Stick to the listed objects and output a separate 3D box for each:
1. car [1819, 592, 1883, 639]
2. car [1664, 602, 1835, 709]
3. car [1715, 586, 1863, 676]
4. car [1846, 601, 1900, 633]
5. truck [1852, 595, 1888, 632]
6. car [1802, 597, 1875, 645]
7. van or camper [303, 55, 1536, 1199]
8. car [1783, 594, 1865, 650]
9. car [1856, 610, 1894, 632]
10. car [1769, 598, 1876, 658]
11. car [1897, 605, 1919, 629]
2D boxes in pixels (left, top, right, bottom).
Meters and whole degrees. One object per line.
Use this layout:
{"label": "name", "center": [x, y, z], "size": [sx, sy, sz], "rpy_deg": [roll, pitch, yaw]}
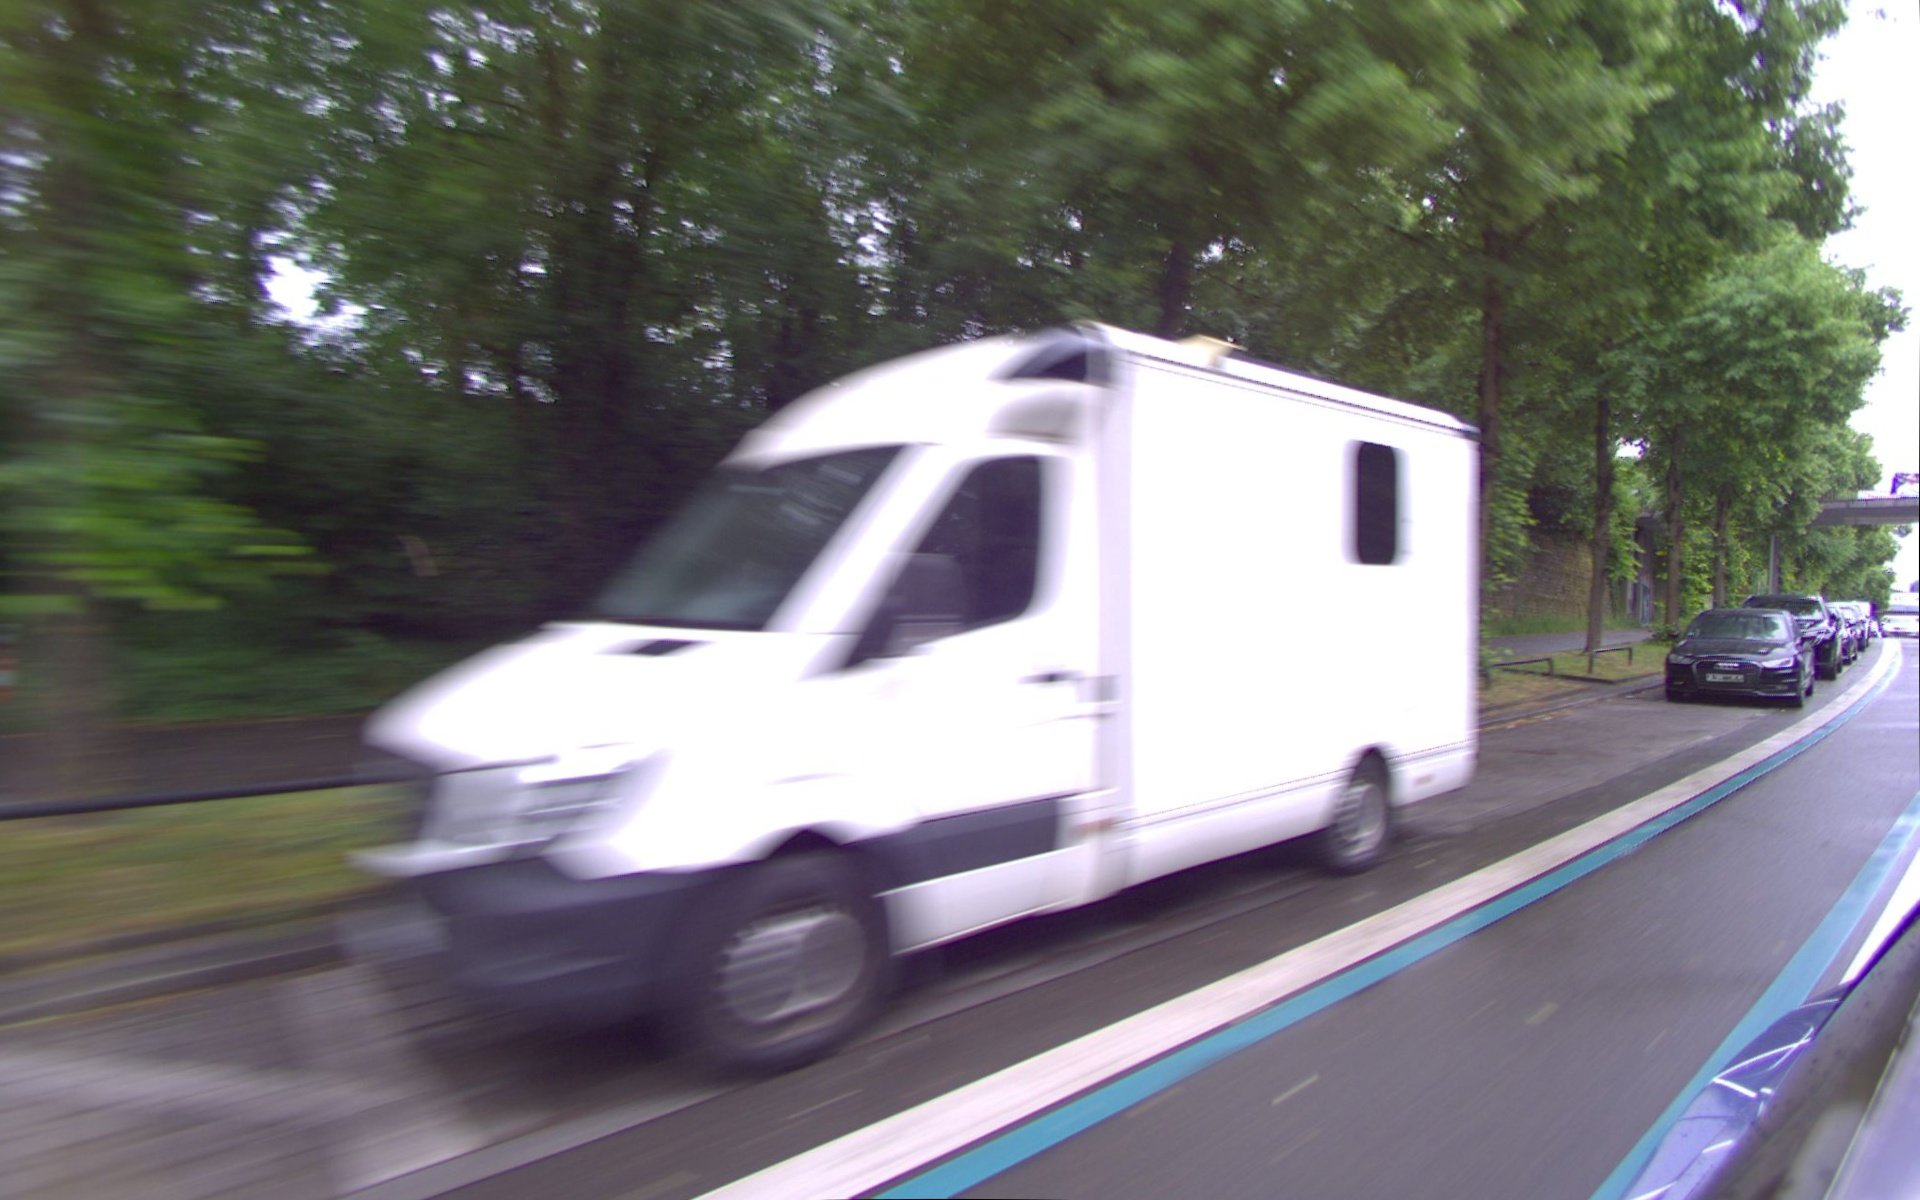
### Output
{"label": "car", "center": [33.228, 0.537, 37.744], "size": [1.712, 1.639, 4.196], "rpy_deg": [1, 1, 42]}
{"label": "car", "center": [12.608, 0.775, 16.083], "size": [1.679, 1.393, 3.935], "rpy_deg": [1, 1, 45]}
{"label": "car", "center": [17.554, 0.572, 21.359], "size": [1.994, 1.666, 4.278], "rpy_deg": [-1, 0, 45]}
{"label": "car", "center": [49.450, 0.928, 54.871], "size": [1.991, 1.580, 4.574], "rpy_deg": [1, -1, 40]}
{"label": "truck", "center": [61.390, 0.898, 68.238], "size": [1.718, 2.363, 3.937], "rpy_deg": [1, -1, 43]}
{"label": "car", "center": [29.231, 0.644, 33.625], "size": [1.718, 1.393, 4.489], "rpy_deg": [1, 2, 43]}
{"label": "van or camper", "center": [0.461, 0.085, 5.240], "size": [6.267, 2.698, 2.322], "rpy_deg": [0, 0, -39]}
{"label": "car", "center": [25.675, 0.607, 30.048], "size": [1.661, 1.554, 3.682], "rpy_deg": [0, 0, 43]}
{"label": "car", "center": [69.562, 1.593, 76.971], "size": [1.751, 1.605, 4.354], "rpy_deg": [1, -1, 37]}
{"label": "car", "center": [22.290, 0.657, 26.093], "size": [4.394, 1.365, 1.775], "rpy_deg": [-1, 1, -45]}
{"label": "car", "center": [61.973, 1.120, 65.618], "size": [1.721, 1.416, 4.519], "rpy_deg": [1, -1, 42]}
